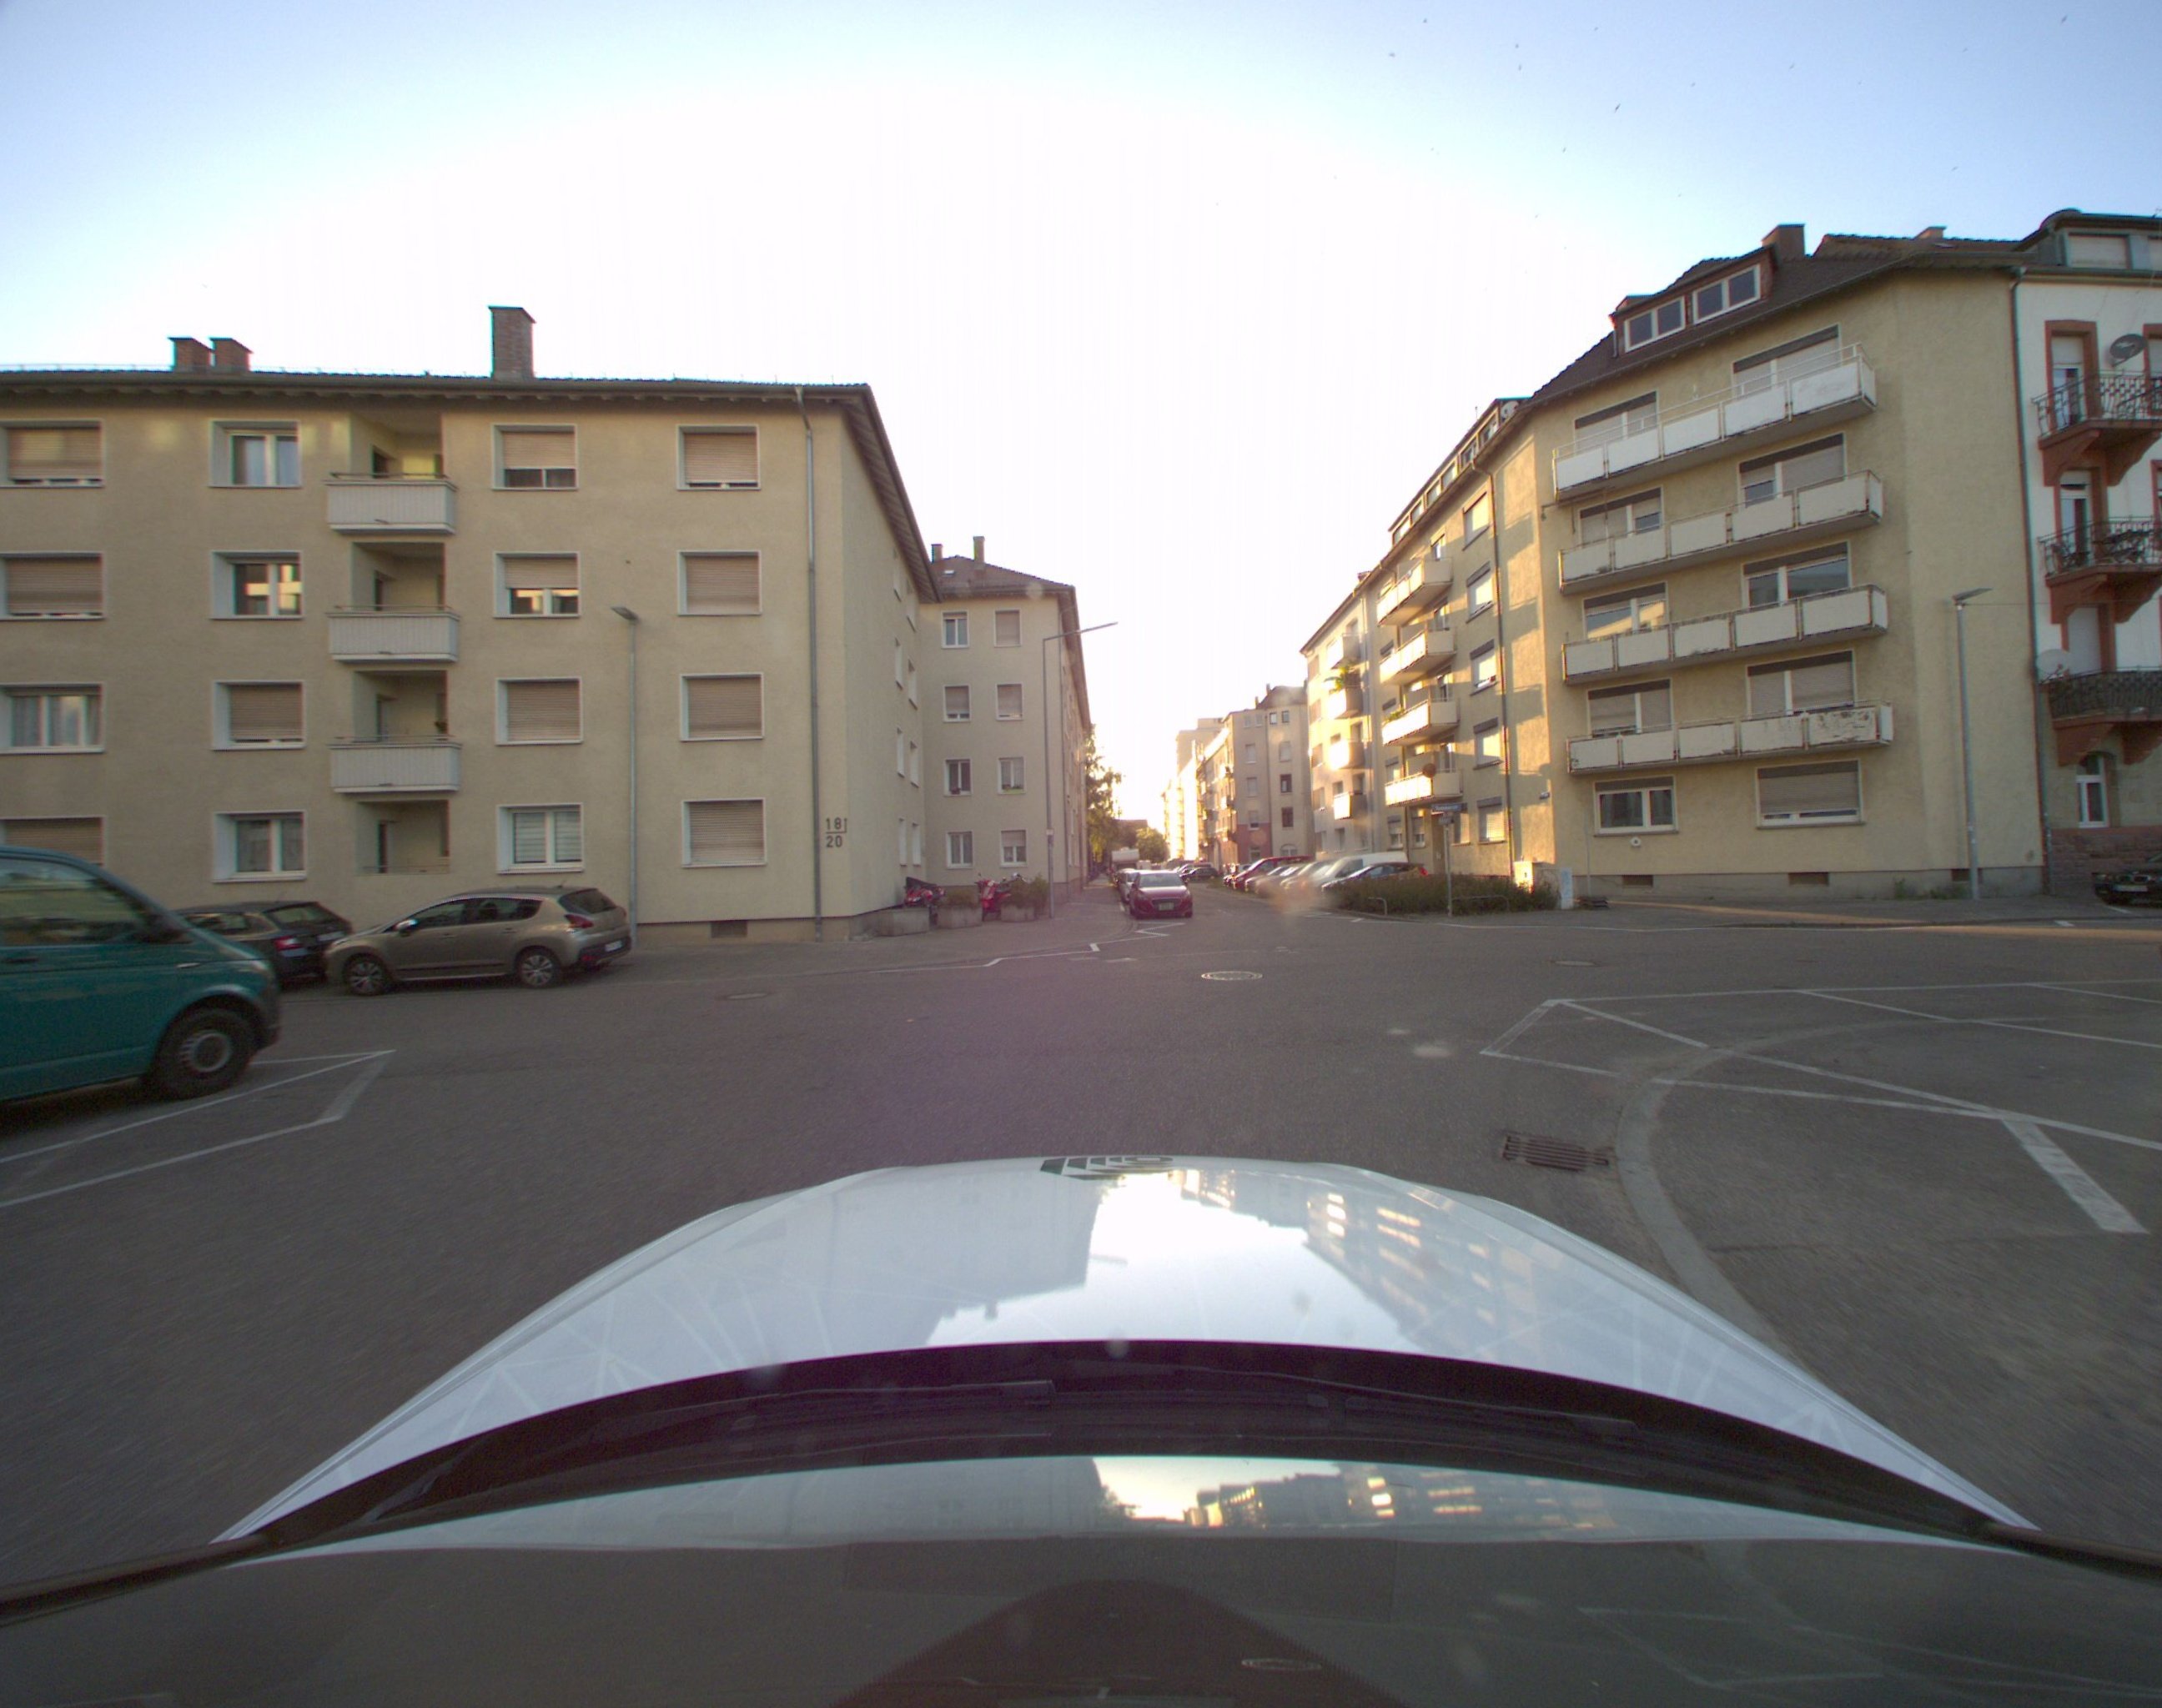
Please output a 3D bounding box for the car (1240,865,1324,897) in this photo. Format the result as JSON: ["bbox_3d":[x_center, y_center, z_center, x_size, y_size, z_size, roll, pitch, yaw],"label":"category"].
[{"bbox_3d":[11.027,1.493,44.814,4.130,1.471,1.636,-4,-2,1],"label":"car"}]

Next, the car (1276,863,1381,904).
[{"bbox_3d":[10.564,1.259,34.974,3.940,1.522,1.706,-3,-1,2],"label":"car"}]

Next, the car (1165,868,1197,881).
[{"bbox_3d":[13.201,2.686,107.562,3.973,1.530,1.659,-4,-1,1],"label":"car"}]

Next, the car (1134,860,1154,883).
[{"bbox_3d":[8.267,2.306,106.523,2.122,2.717,4.832,-4,-1,0],"label":"car"}]

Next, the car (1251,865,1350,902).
[{"bbox_3d":[10.575,1.417,39.394,4.292,1.450,1.655,-4,-2,1],"label":"car"}]

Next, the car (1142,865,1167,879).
[{"bbox_3d":[15.041,3.685,166.794,4.796,2.408,1.739,-3,-1,1],"label":"car"}]

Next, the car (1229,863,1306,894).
[{"bbox_3d":[11.450,1.504,50.203,4.309,1.637,1.818,-4,-2,1],"label":"car"}]

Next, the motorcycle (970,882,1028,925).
[{"bbox_3d":[-2.393,1.449,24.095,0.682,1.160,2.046,-3,-1,26],"label":"motorcycle"}]

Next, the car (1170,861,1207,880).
[{"bbox_3d":[12.744,1.961,96.884,3.977,2.014,1.998,-2,-1,-2],"label":"car"}]

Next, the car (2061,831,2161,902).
[{"bbox_3d":[23.799,0.208,17.190,3.977,1.371,1.998,-2,1,-2],"label":"car"}]

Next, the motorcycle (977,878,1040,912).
[{"bbox_3d":[-2.563,1.453,28.742,2.109,1.105,0.562,-2,-1,13],"label":"motorcycle"}]

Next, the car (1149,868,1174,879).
[{"bbox_3d":[13.139,3.201,132.830,3.973,1.530,1.659,-4,-1,1],"label":"car"}]

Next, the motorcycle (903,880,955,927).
[{"bbox_3d":[-4.456,1.427,23.994,0.718,1.265,2.088,-2,-1,12],"label":"motorcycle"}]

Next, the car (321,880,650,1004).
[{"bbox_3d":[-9.876,1.415,13.805,3.998,1.617,1.879,-2,3,-4],"label":"car"}]

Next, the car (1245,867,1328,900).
[{"bbox_3d":[10.744,1.543,42.751,3.863,1.416,1.636,-4,-2,-1],"label":"car"}]

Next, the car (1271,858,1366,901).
[{"bbox_3d":[10.834,1.169,37.346,3.776,1.695,1.655,-4,-2,2],"label":"car"}]

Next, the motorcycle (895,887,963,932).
[{"bbox_3d":[-4.023,1.466,21.731,0.717,1.079,2.092,-3,-1,22],"label":"motorcycle"}]

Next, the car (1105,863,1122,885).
[{"bbox_3d":[3.913,2.443,98.971,1.764,2.445,5.144,-4,-1,0],"label":"car"}]

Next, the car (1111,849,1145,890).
[{"bbox_3d":[4.059,1.377,71.738,2.610,3.269,7.700,-4,-1,2],"label":"car"}]

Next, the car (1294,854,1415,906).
[{"bbox_3d":[10.994,1.050,32.911,4.263,1.860,1.742,-2,-2,2],"label":"car"}]

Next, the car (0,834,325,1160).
[{"bbox_3d":[-7.493,0.896,4.794,1.793,1.980,4.685,-2,-2,-2],"label":"car"}]

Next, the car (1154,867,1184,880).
[{"bbox_3d":[12.086,2.737,111.852,3.973,1.530,1.659,-4,-1,1],"label":"car"}]

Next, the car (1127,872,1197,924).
[{"bbox_3d":[2.544,1.370,26.428,1.839,1.473,4.077,-2,-1,0],"label":"car"}]

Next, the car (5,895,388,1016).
[{"bbox_3d":[-14.708,1.636,13.808,4.004,1.500,1.876,-2,3,-8],"label":"car"}]

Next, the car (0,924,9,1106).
[{"bbox_3d":[-10.084,1.289,4.801,1.775,1.550,4.327,-2,-3,-1],"label":"car"}]

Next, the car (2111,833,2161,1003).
[{"bbox_3d":[11.081,0.436,5.518,1.828,1.531,4.708,-2,-3,-12],"label":"car"}]

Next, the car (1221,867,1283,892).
[{"bbox_3d":[11.534,1.717,55.205,3.798,1.428,1.635,-4,-2,1],"label":"car"}]

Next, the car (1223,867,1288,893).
[{"bbox_3d":[11.229,1.687,52.691,3.798,1.428,1.635,-4,-2,1],"label":"car"}]

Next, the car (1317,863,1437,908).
[{"bbox_3d":[11.105,1.167,30.746,3.857,1.492,1.742,-2,-1,2],"label":"car"}]

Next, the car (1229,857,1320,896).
[{"bbox_3d":[11.190,1.309,47.353,4.706,1.909,2.059,-4,-2,1],"label":"car"}]

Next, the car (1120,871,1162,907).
[{"bbox_3d":[2.737,1.601,37.850,1.610,1.473,3.504,-4,-1,0],"label":"car"}]

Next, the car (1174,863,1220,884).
[{"bbox_3d":[12.850,2.160,90.654,4.796,1.968,1.739,-4,-1,1],"label":"car"}]

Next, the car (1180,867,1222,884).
[{"bbox_3d":[12.298,2.196,83.609,3.973,1.530,1.659,-4,-1,1],"label":"car"}]

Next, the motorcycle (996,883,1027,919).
[{"bbox_3d":[-2.256,1.512,26.588,0.679,1.079,2.036,-2,-1,3],"label":"motorcycle"}]
